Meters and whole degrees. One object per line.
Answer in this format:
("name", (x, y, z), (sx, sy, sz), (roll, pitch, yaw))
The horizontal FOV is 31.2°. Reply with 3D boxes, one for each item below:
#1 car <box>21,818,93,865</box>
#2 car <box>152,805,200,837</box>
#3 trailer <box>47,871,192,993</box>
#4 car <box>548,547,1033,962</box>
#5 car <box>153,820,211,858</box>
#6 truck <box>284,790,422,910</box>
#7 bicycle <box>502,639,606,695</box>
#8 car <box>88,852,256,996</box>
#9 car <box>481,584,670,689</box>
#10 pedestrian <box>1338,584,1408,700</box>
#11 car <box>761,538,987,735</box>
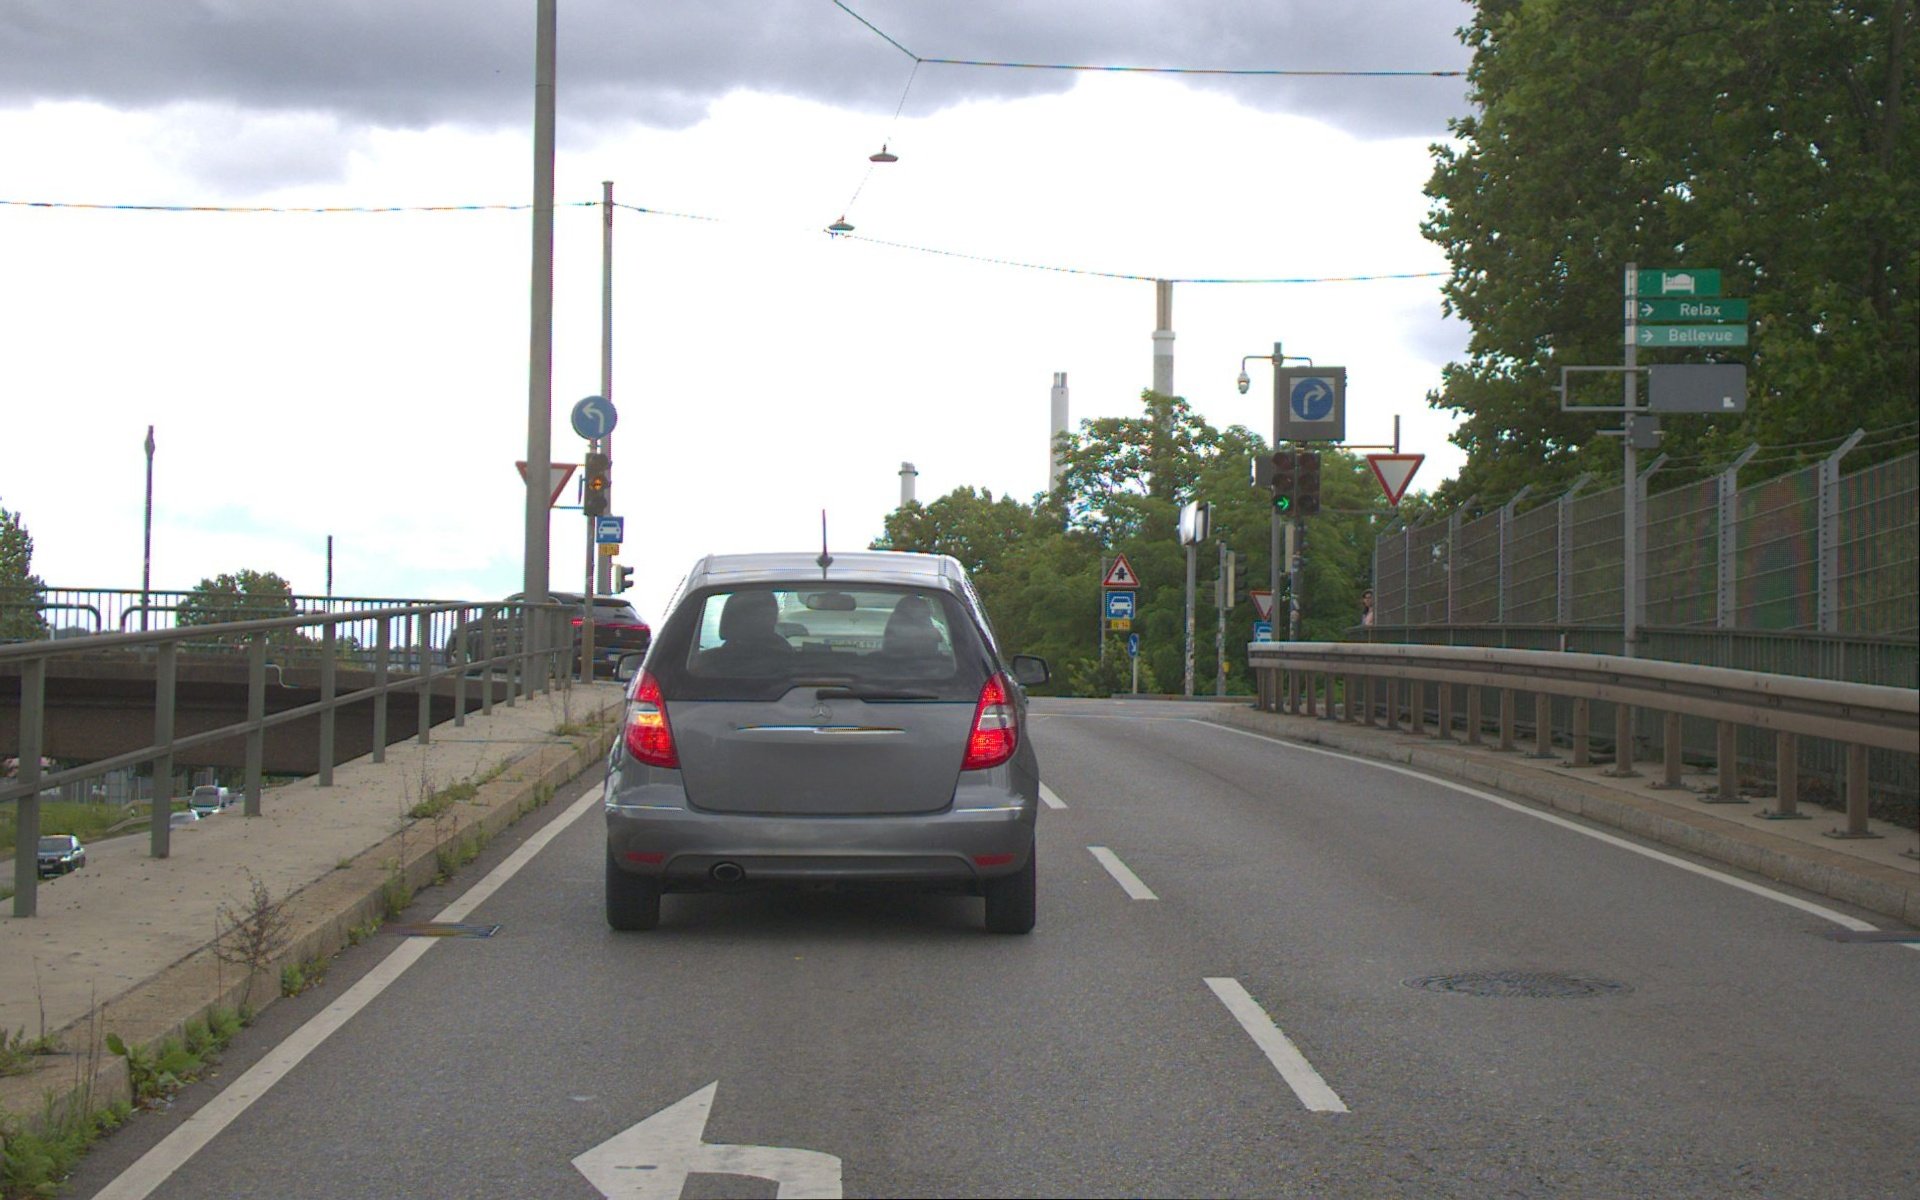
("car", (-36.144, 9.663, 137.666), (1.915, 1.733, 4.552), (0, -2, -4))
("car", (-41.911, 11.820, 183.881), (1.915, 1.638, 4.164), (1, -4, -5))
("trailer", (-15.737, 6.201, 64.565), (1.729, 2.123, 3.936), (1, -4, 0))
("car", (-0.668, 0.580, 15.318), (1.857, 1.583, 4.000), (1, 0, 0))
("car", (-33.144, 10.168, 146.539), (1.728, 1.523, 4.086), (1, -3, -3))
("truck", (-17.800, 7.286, 101.243), (2.746, 3.282, 7.440), (1, -3, 0))
("bicycle", (-8.383, 1.387, 70.937), (2.032, 1.121, 0.929), (1, 0, -13))
("car", (-15.834, 6.470, 69.404), (1.993, 2.676, 5.932), (1, -4, 0))
("car", (-6.639, 0.601, 59.048), (1.931, 1.711, 4.001), (1, 0, -27))
("pedestrian", (6.072, 0.629, 50.603), (0.832, 1.672, 0.979), (0, -3, -5))
("car", (-0.883, 0.312, 32.496), (1.931, 1.711, 4.406), (1, 0, -4))
